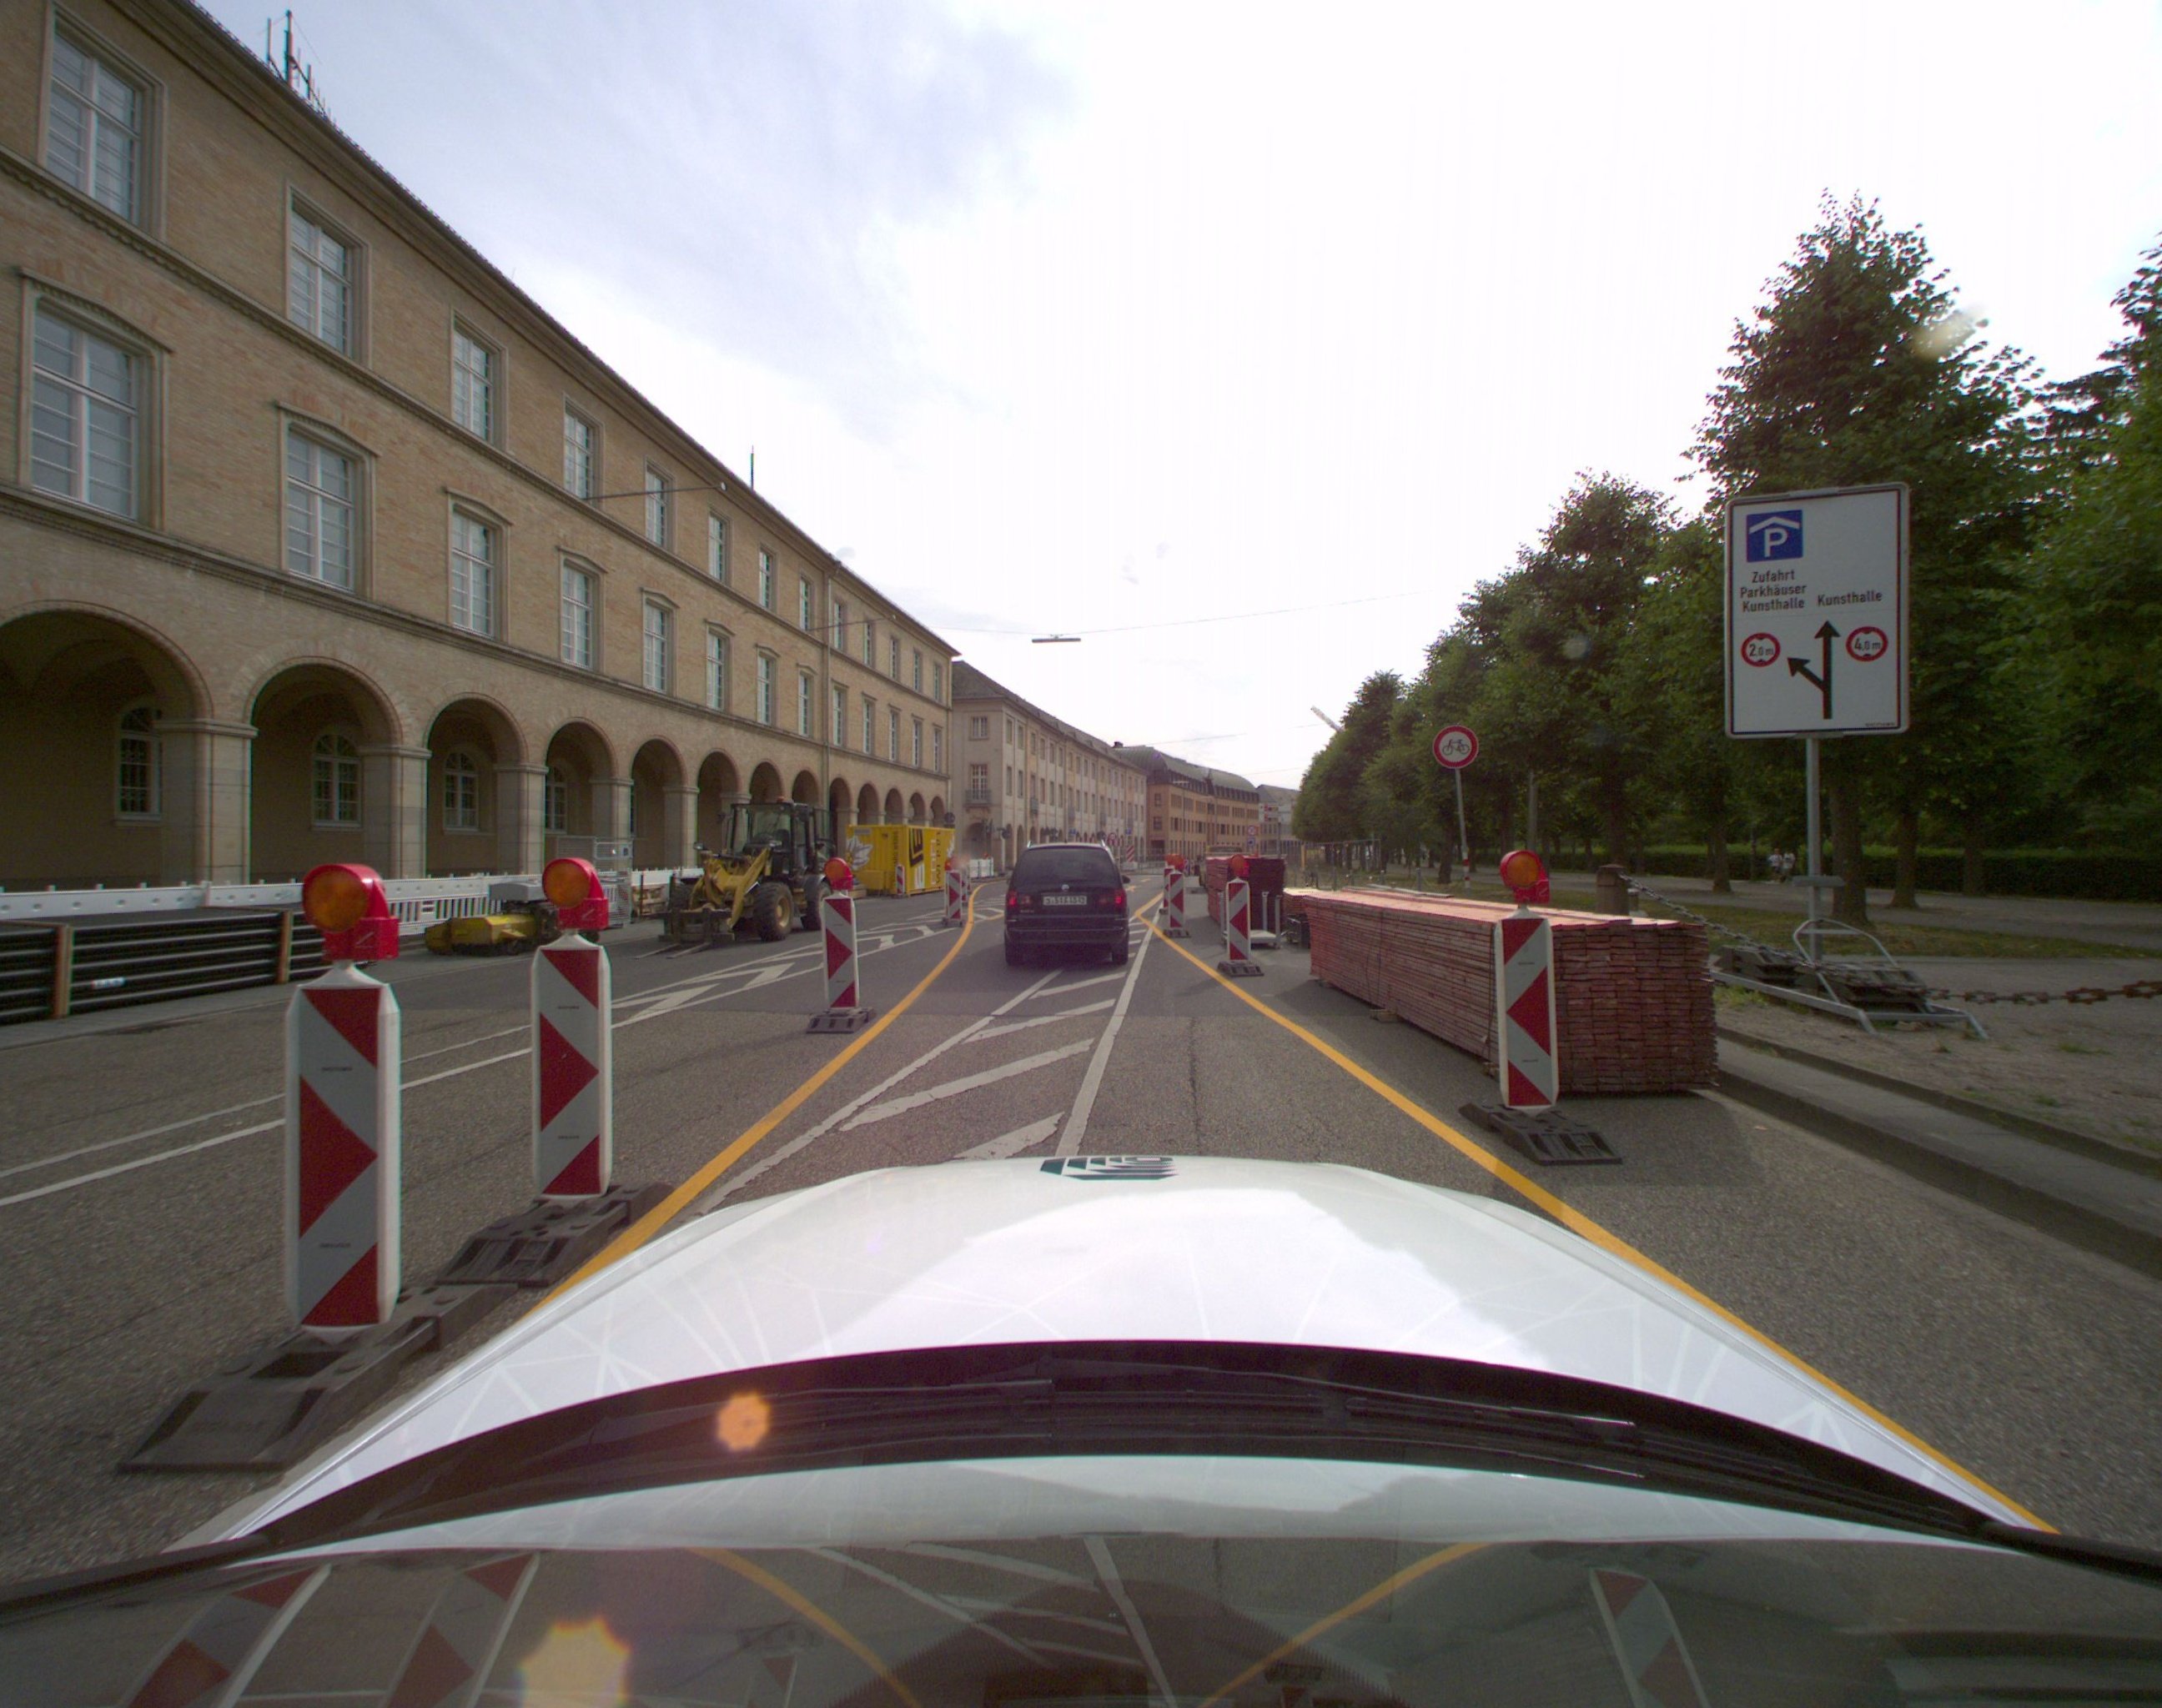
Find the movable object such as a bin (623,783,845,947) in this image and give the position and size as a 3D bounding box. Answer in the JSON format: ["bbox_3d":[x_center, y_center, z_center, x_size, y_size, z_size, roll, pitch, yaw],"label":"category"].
[{"bbox_3d":[-6.456,0.193,15.850,2.106,2.718,4.623,0,0,3],"label":"movable object such as a bin"}]

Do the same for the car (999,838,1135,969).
[{"bbox_3d":[-0.164,0.648,12.868,1.787,1.708,4.131,-1,0,0],"label":"car"}]

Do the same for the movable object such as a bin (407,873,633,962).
[{"bbox_3d":[-9.441,1.011,13.952,1.798,1.124,2.753,2,2,6],"label":"movable object such as a bin"}]

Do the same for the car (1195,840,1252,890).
[{"bbox_3d":[6.241,0.432,36.148,1.985,2.013,4.349,0,2,3],"label":"car"}]
